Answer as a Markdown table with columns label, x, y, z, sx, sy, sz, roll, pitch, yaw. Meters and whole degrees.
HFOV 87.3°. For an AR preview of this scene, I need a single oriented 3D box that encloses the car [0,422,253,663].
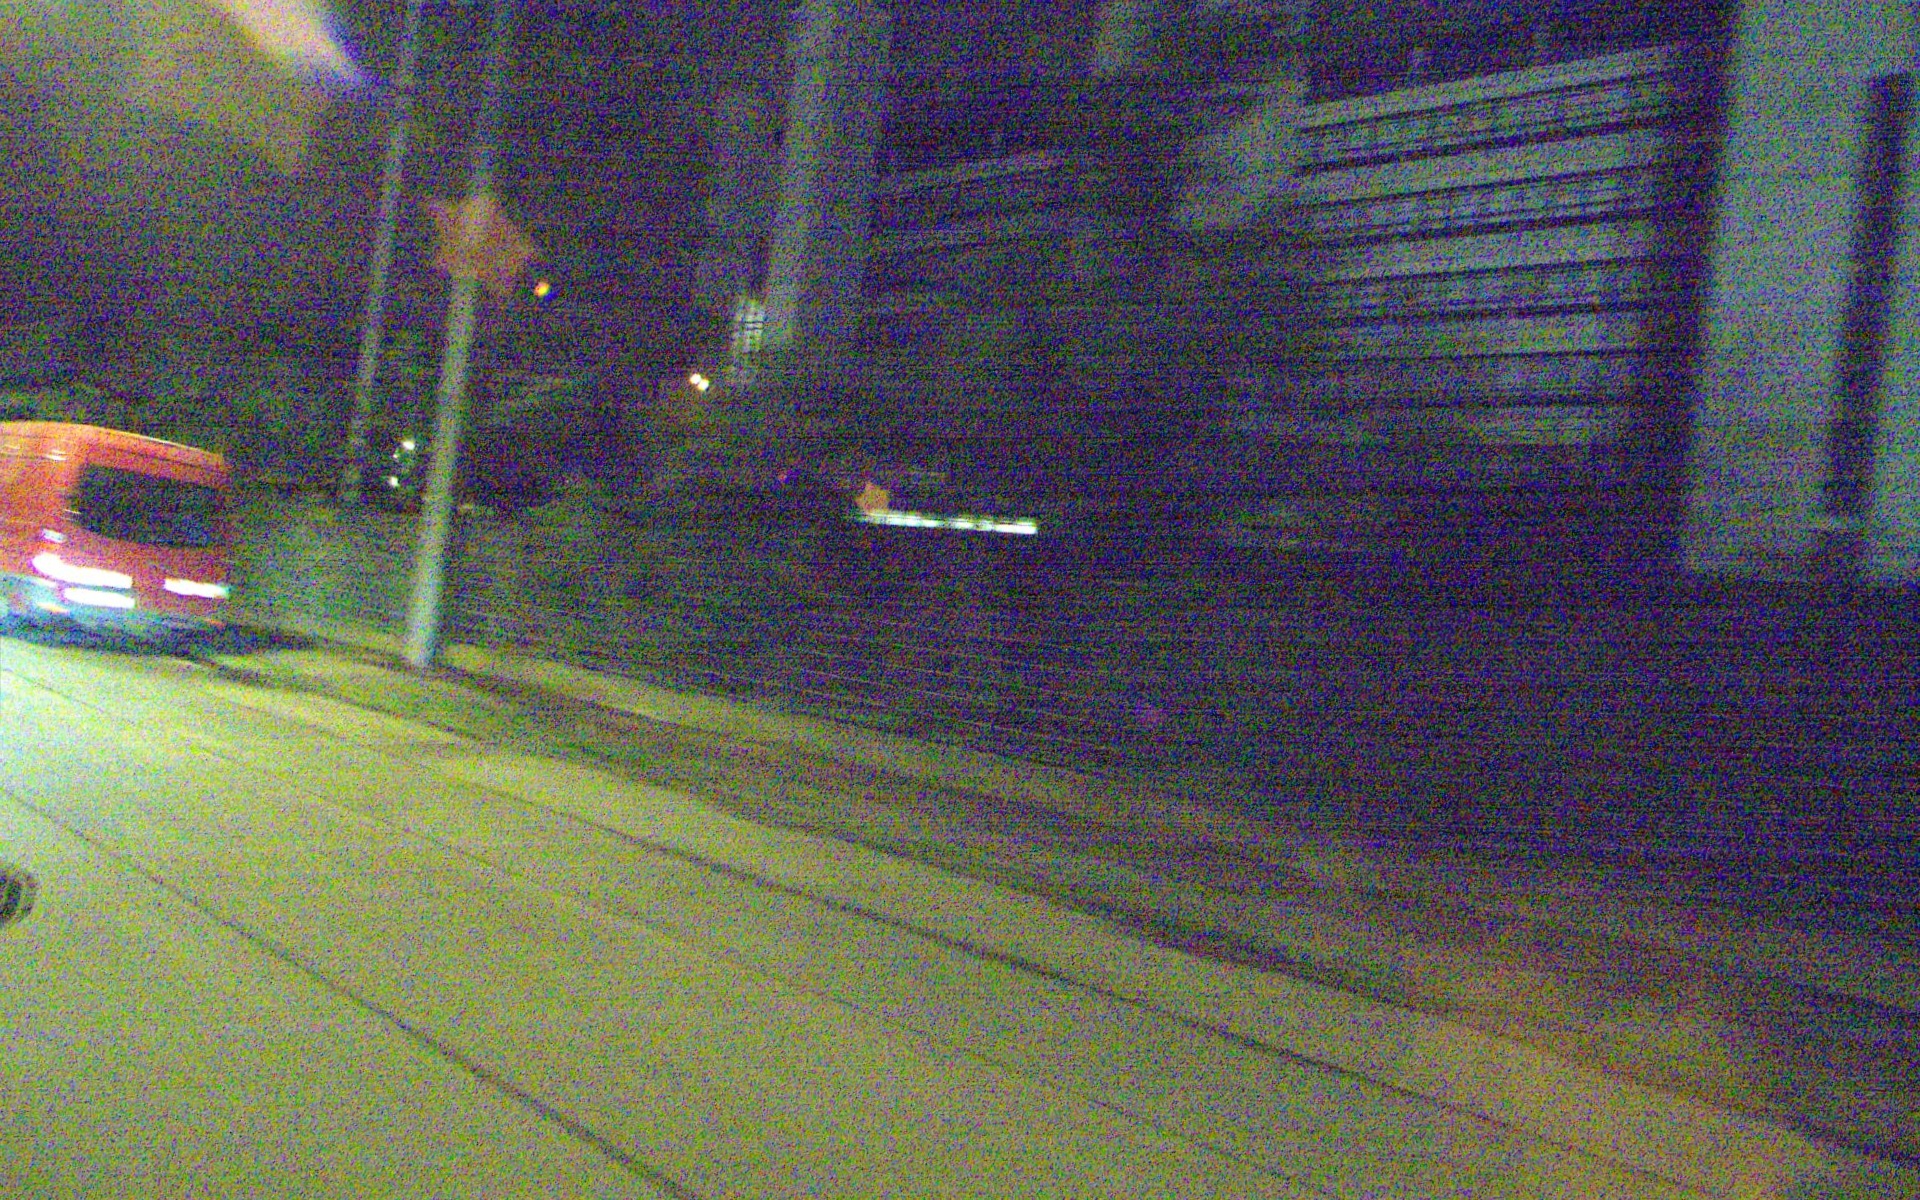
| label | x | y | z | sx | sy | sz | roll | pitch | yaw |
| --- | --- | --- | --- | --- | --- | --- | --- | --- | --- |
| car | -12.175 | -0.864 | 13.441 | 5.924 | 2.578 | 1.998 | 7 | -1 | 31 |

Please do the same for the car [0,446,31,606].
| label | x | y | z | sx | sy | sz | roll | pitch | yaw |
| --- | --- | --- | --- | --- | --- | --- | --- | --- | --- |
| car | -18.710 | -1.582 | 17.534 | 6.538 | 2.578 | 1.944 | 7 | -1 | 33 |
